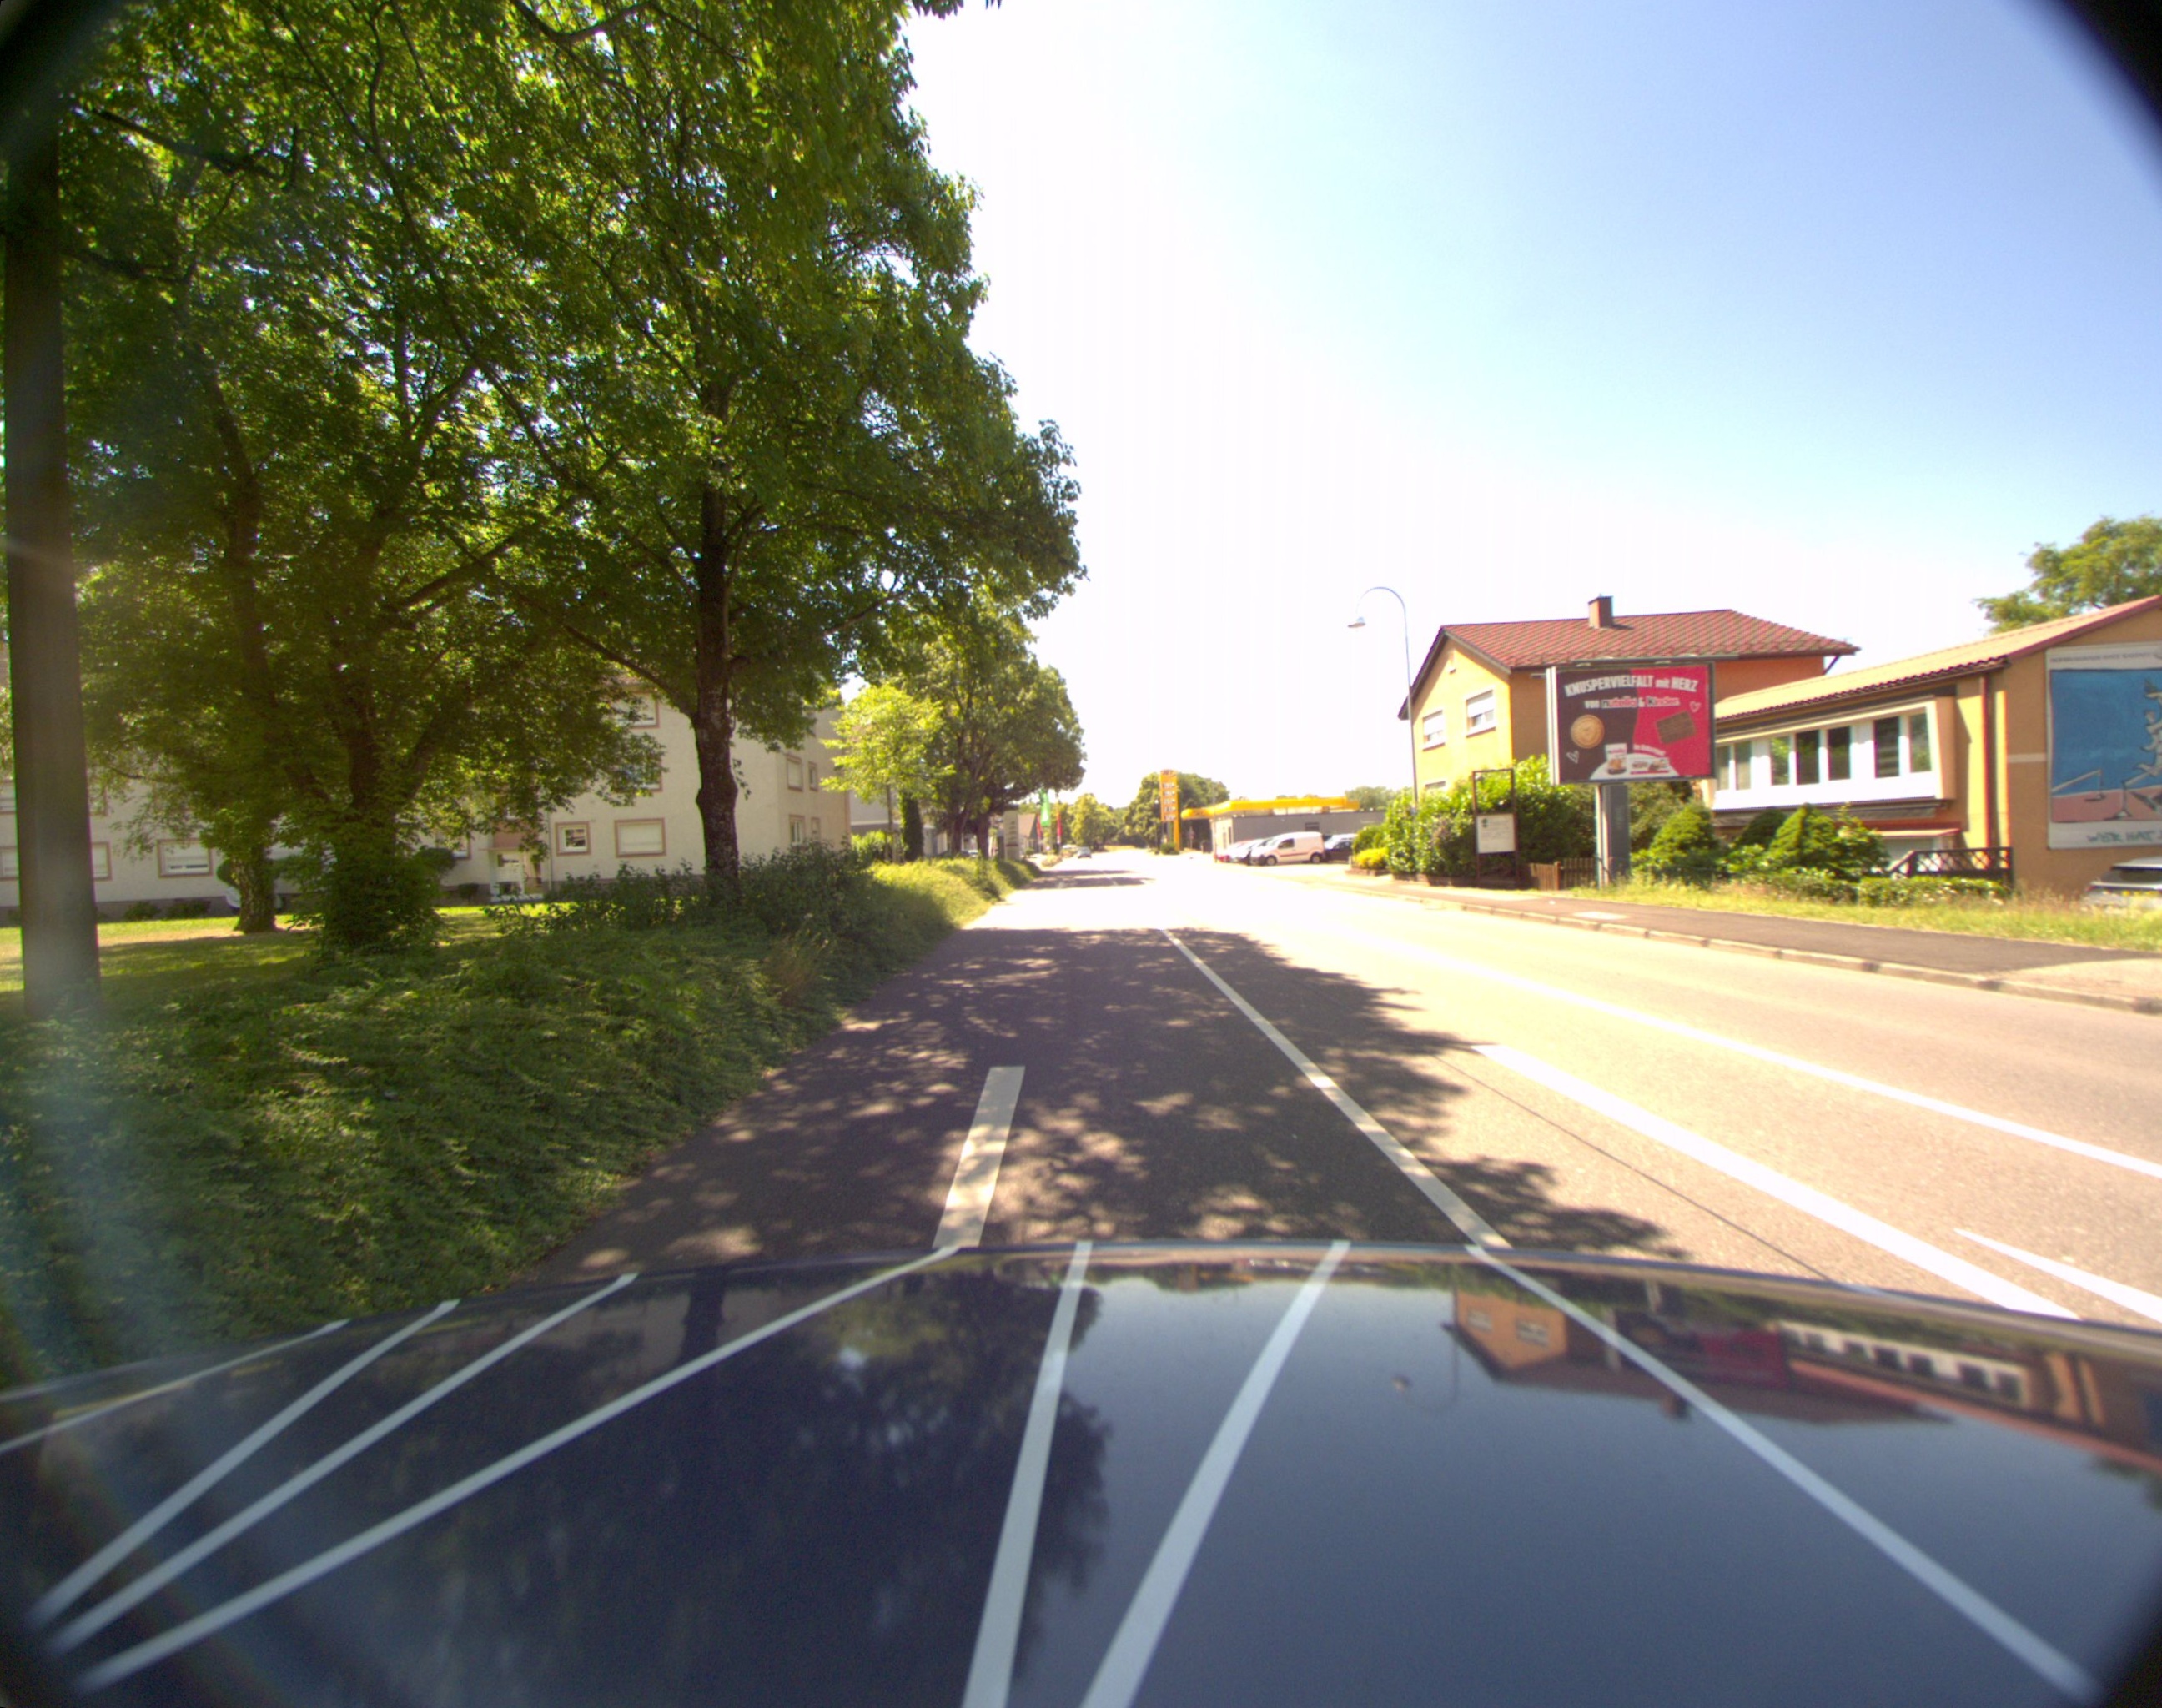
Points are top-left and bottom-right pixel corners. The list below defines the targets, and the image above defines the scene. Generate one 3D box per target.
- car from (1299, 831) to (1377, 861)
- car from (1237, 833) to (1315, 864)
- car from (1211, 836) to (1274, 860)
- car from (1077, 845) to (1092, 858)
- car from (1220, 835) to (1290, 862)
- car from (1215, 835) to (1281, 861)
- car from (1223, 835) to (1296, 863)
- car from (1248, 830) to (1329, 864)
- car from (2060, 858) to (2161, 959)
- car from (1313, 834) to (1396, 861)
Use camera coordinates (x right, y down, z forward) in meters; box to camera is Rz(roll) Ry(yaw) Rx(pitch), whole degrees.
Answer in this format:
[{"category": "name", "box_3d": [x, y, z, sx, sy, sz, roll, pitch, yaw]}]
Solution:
[{"category": "car", "box_3d": [16.540, -0.523, 49.006, 4.402, 1.815, 1.874, -2, 1, -5]}, {"category": "car", "box_3d": [12.000, -0.339, 46.894, 4.246, 1.750, 1.874, -2, 1, -5]}, {"category": "car", "box_3d": [12.390, -0.474, 58.374, 4.402, 1.750, 1.874, -2, 1, -5]}, {"category": "car", "box_3d": [0.467, -0.338, 95.731, 1.771, 1.521, 4.129, -2, 1, 0]}, {"category": "car", "box_3d": [12.260, -0.404, 53.717, 4.402, 1.750, 1.874, -2, 1, -5]}, {"category": "car", "box_3d": [12.253, -0.422, 55.860, 4.402, 1.750, 1.874, -2, 1, -5]}, {"category": "car", "box_3d": [12.064, -0.364, 51.386, 4.402, 1.750, 1.874, -2, 1, -5]}, {"category": "car", "box_3d": [12.156, -0.422, 44.734, 4.191, 1.858, 1.874, -2, 1, -5]}, {"category": "car", "box_3d": [19.872, 0.869, 12.735, 4.224, 1.599, 1.772, -1, 1, 7]}, {"category": "car", "box_3d": [16.807, -0.415, 46.773, 4.402, 1.555, 1.874, -2, 1, -5]}]
